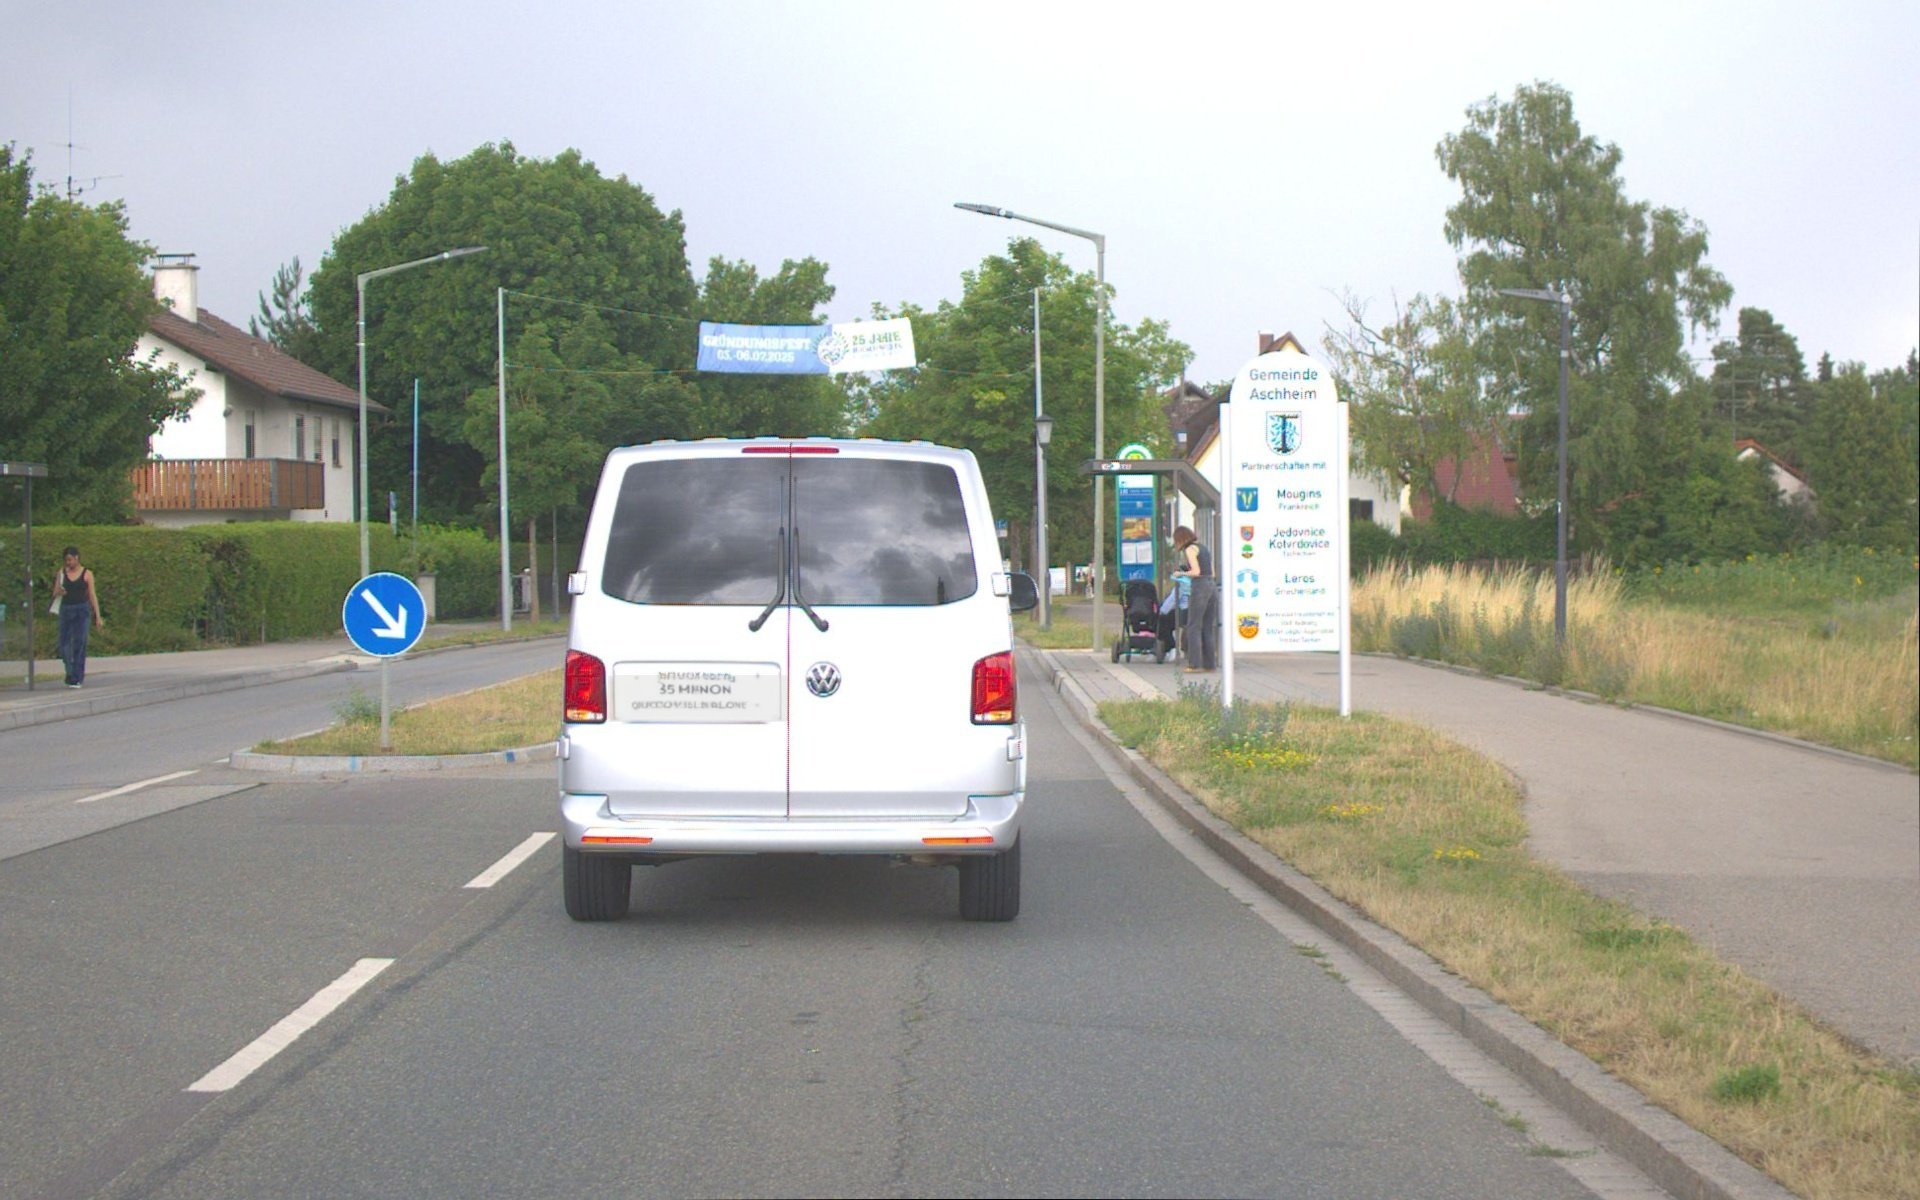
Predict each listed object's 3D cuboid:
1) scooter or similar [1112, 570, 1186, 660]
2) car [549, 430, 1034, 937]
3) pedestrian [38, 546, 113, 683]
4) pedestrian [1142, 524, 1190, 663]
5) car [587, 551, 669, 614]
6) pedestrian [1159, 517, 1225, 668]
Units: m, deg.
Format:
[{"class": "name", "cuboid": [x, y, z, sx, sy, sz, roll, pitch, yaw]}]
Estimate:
[{"class": "scooter or similar", "cuboid": [2.426, 0.188, 44.194, 0.848, 1.100, 1.094, -2, 1, 0]}, {"class": "car", "cuboid": [-0.706, 0.274, 14.970, 1.825, 1.907, 4.001, 0, 1, -2]}, {"class": "pedestrian", "cuboid": [-10.107, 0.161, 39.308, 0.623, 1.519, 0.680, -2, 1, -1]}, {"class": "pedestrian", "cuboid": [2.593, -0.086, 43.280, 0.485, 1.726, 0.642, -2, 1, -1]}, {"class": "car", "cuboid": [-8.178, -0.455, 84.812, 1.653, 1.424, 3.602, -2, 1, -1]}, {"class": "pedestrian", "cuboid": [2.711, -0.091, 40.122, 0.640, 1.726, 0.486, -2, 1, 11]}]
